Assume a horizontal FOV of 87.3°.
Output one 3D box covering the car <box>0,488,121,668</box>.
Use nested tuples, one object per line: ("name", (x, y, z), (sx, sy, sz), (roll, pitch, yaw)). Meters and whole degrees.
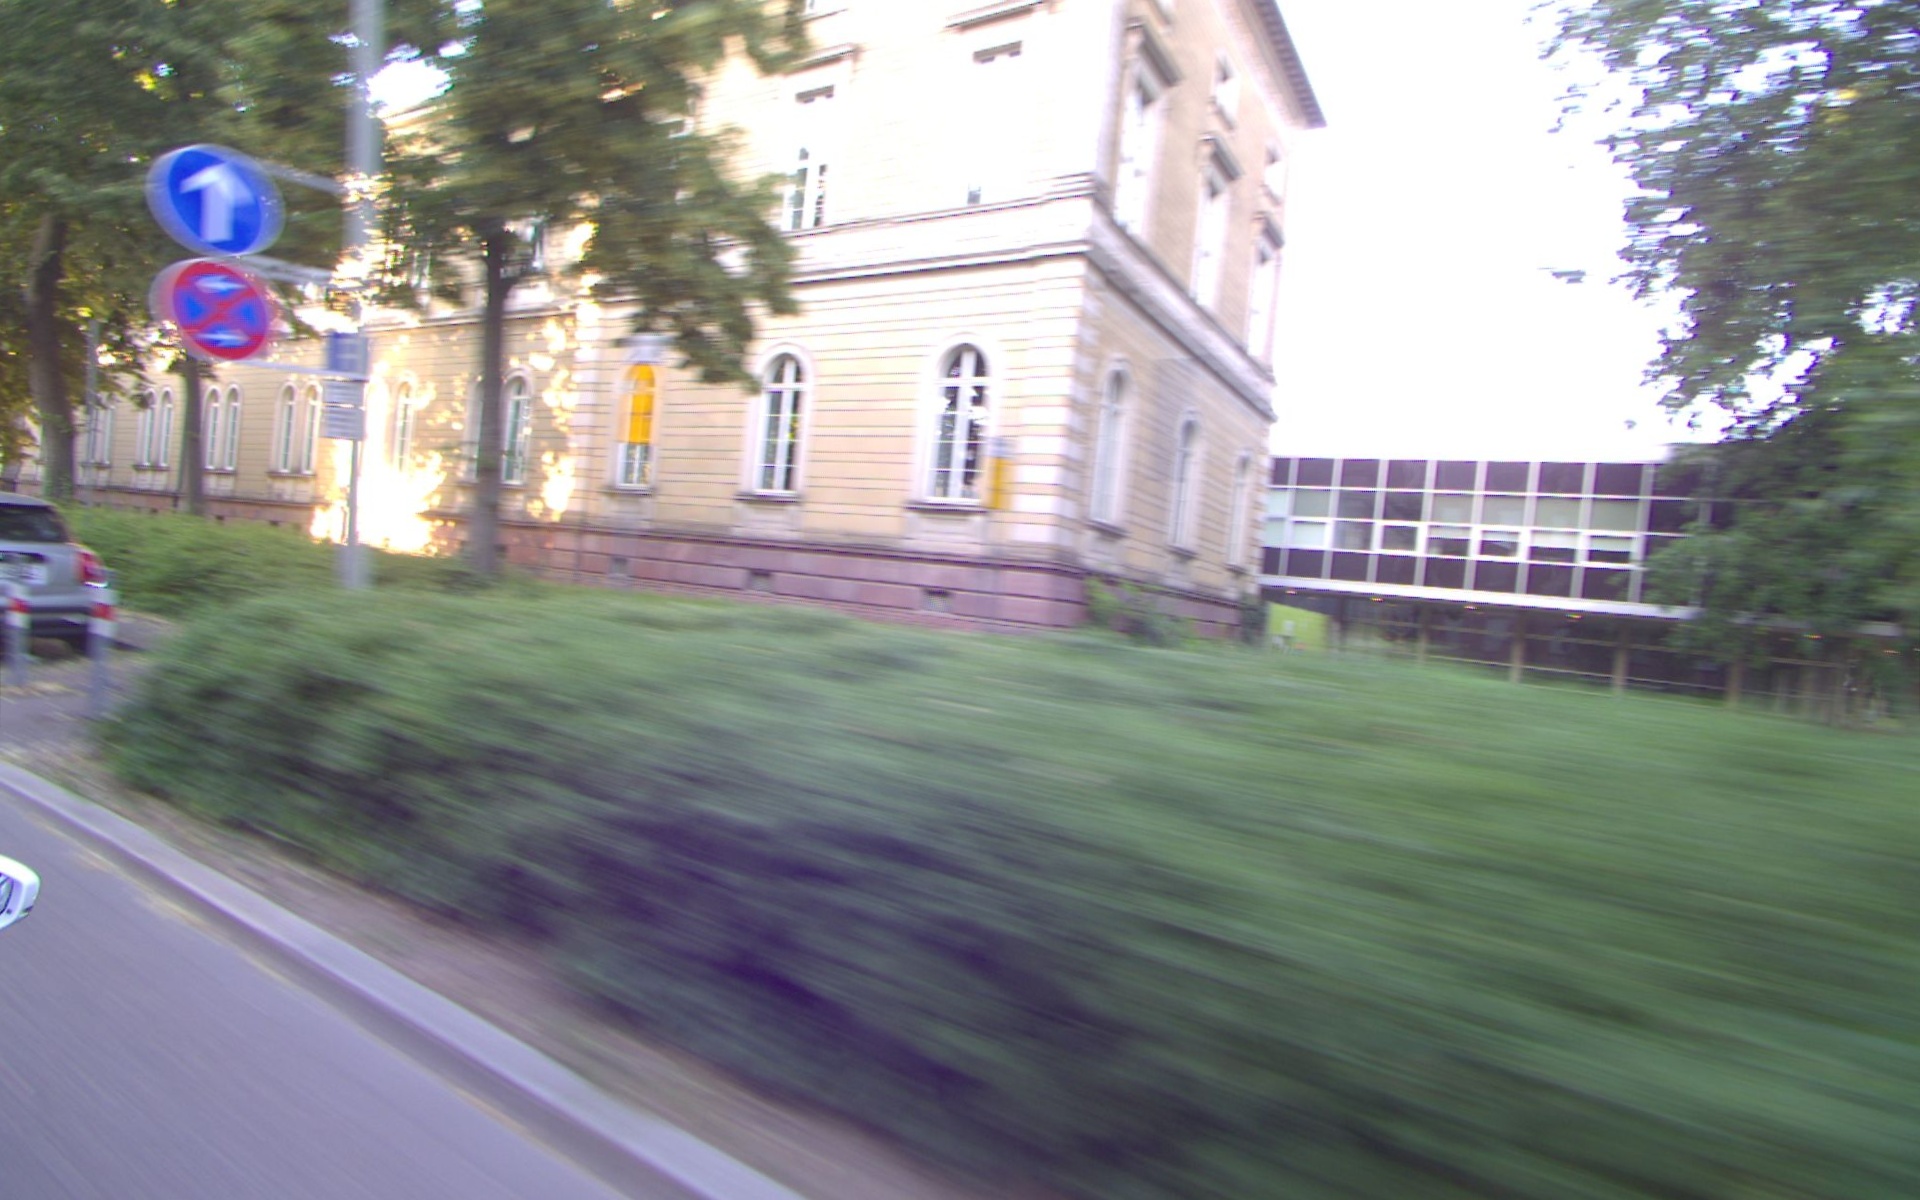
("car", (-9.371, -0.315, 9.061), (3.611, 1.467, 1.685), (5, 2, 31))
